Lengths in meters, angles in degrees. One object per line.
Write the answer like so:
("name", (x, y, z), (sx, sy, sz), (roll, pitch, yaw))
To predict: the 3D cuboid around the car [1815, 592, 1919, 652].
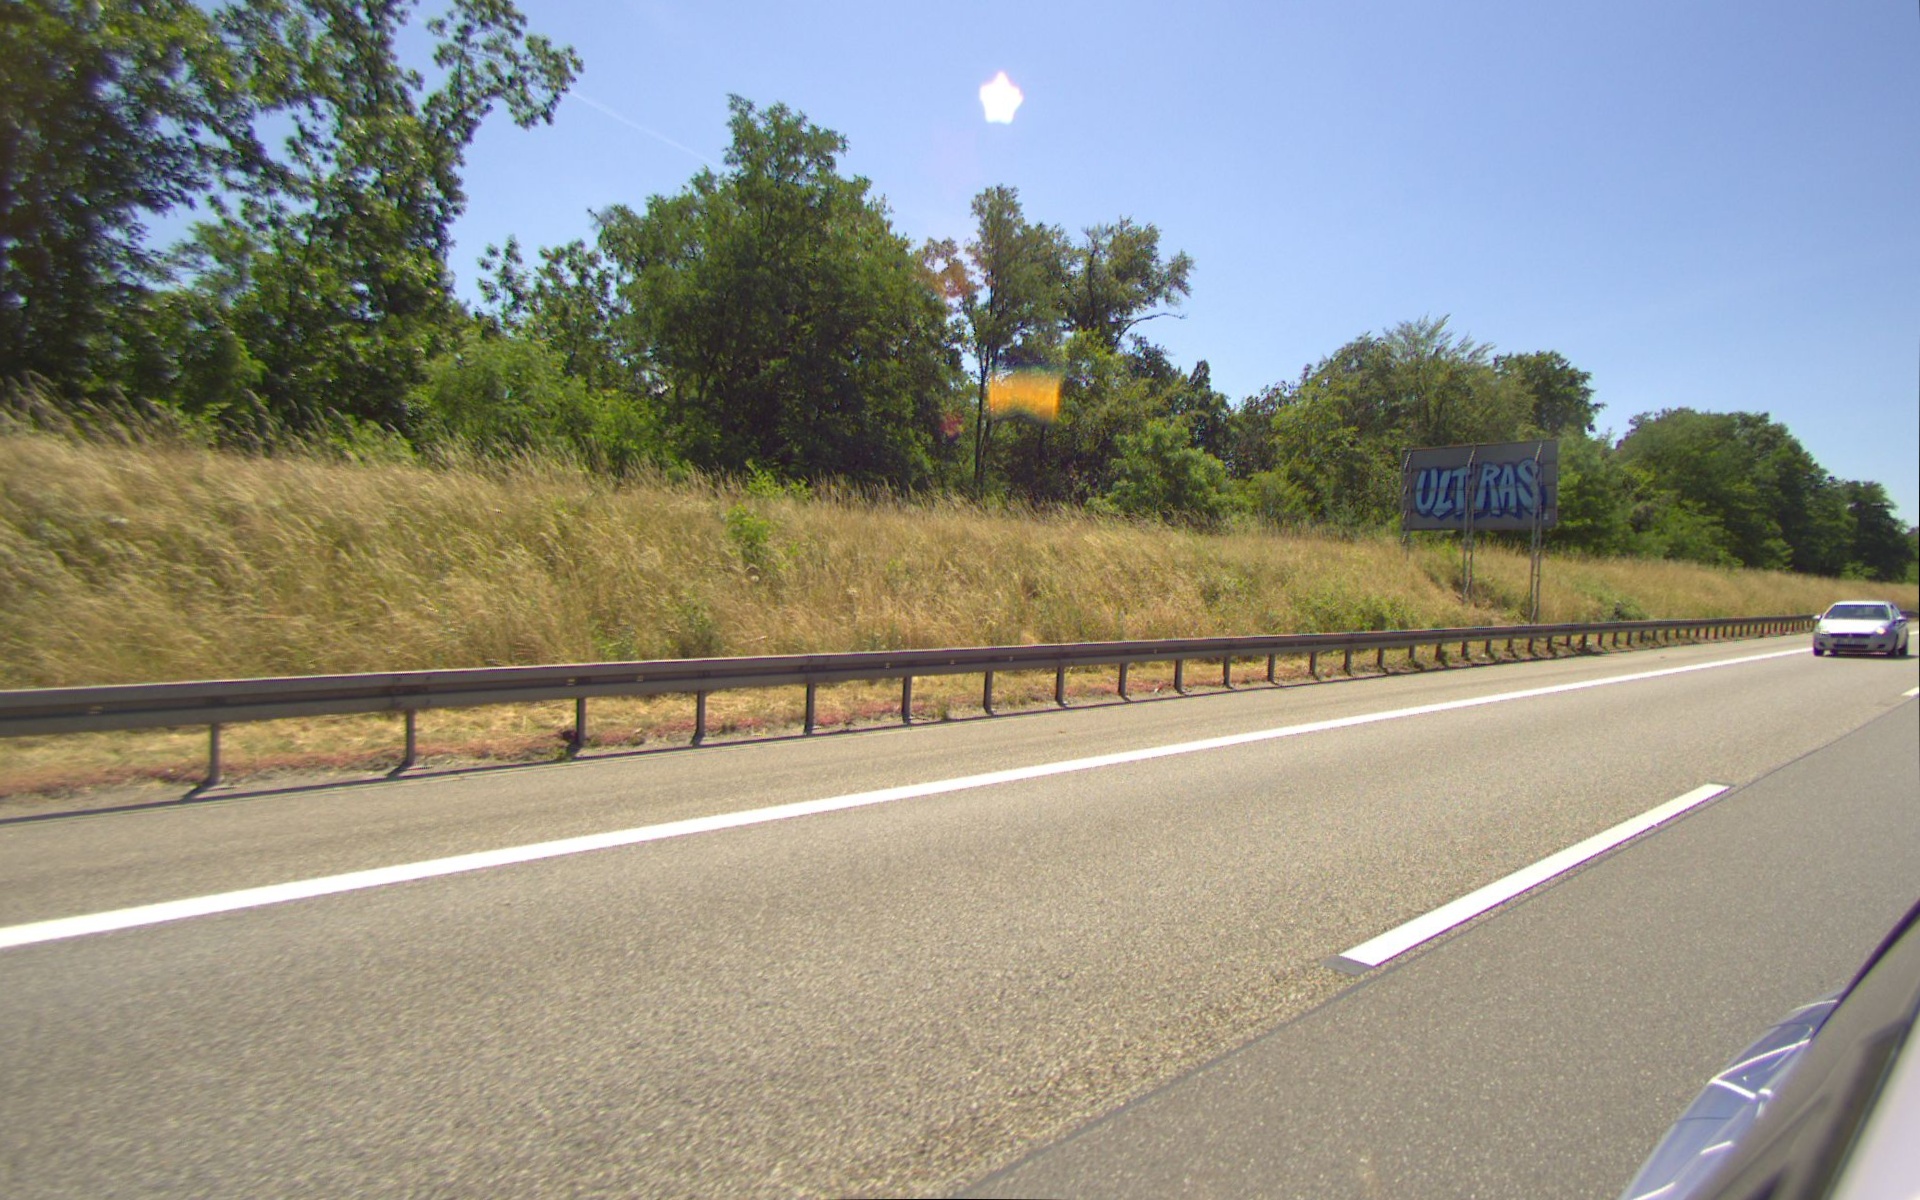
("car", (24.454, 0.539, 27.127), (3.910, 1.484, 1.748), (0, 0, -40))
